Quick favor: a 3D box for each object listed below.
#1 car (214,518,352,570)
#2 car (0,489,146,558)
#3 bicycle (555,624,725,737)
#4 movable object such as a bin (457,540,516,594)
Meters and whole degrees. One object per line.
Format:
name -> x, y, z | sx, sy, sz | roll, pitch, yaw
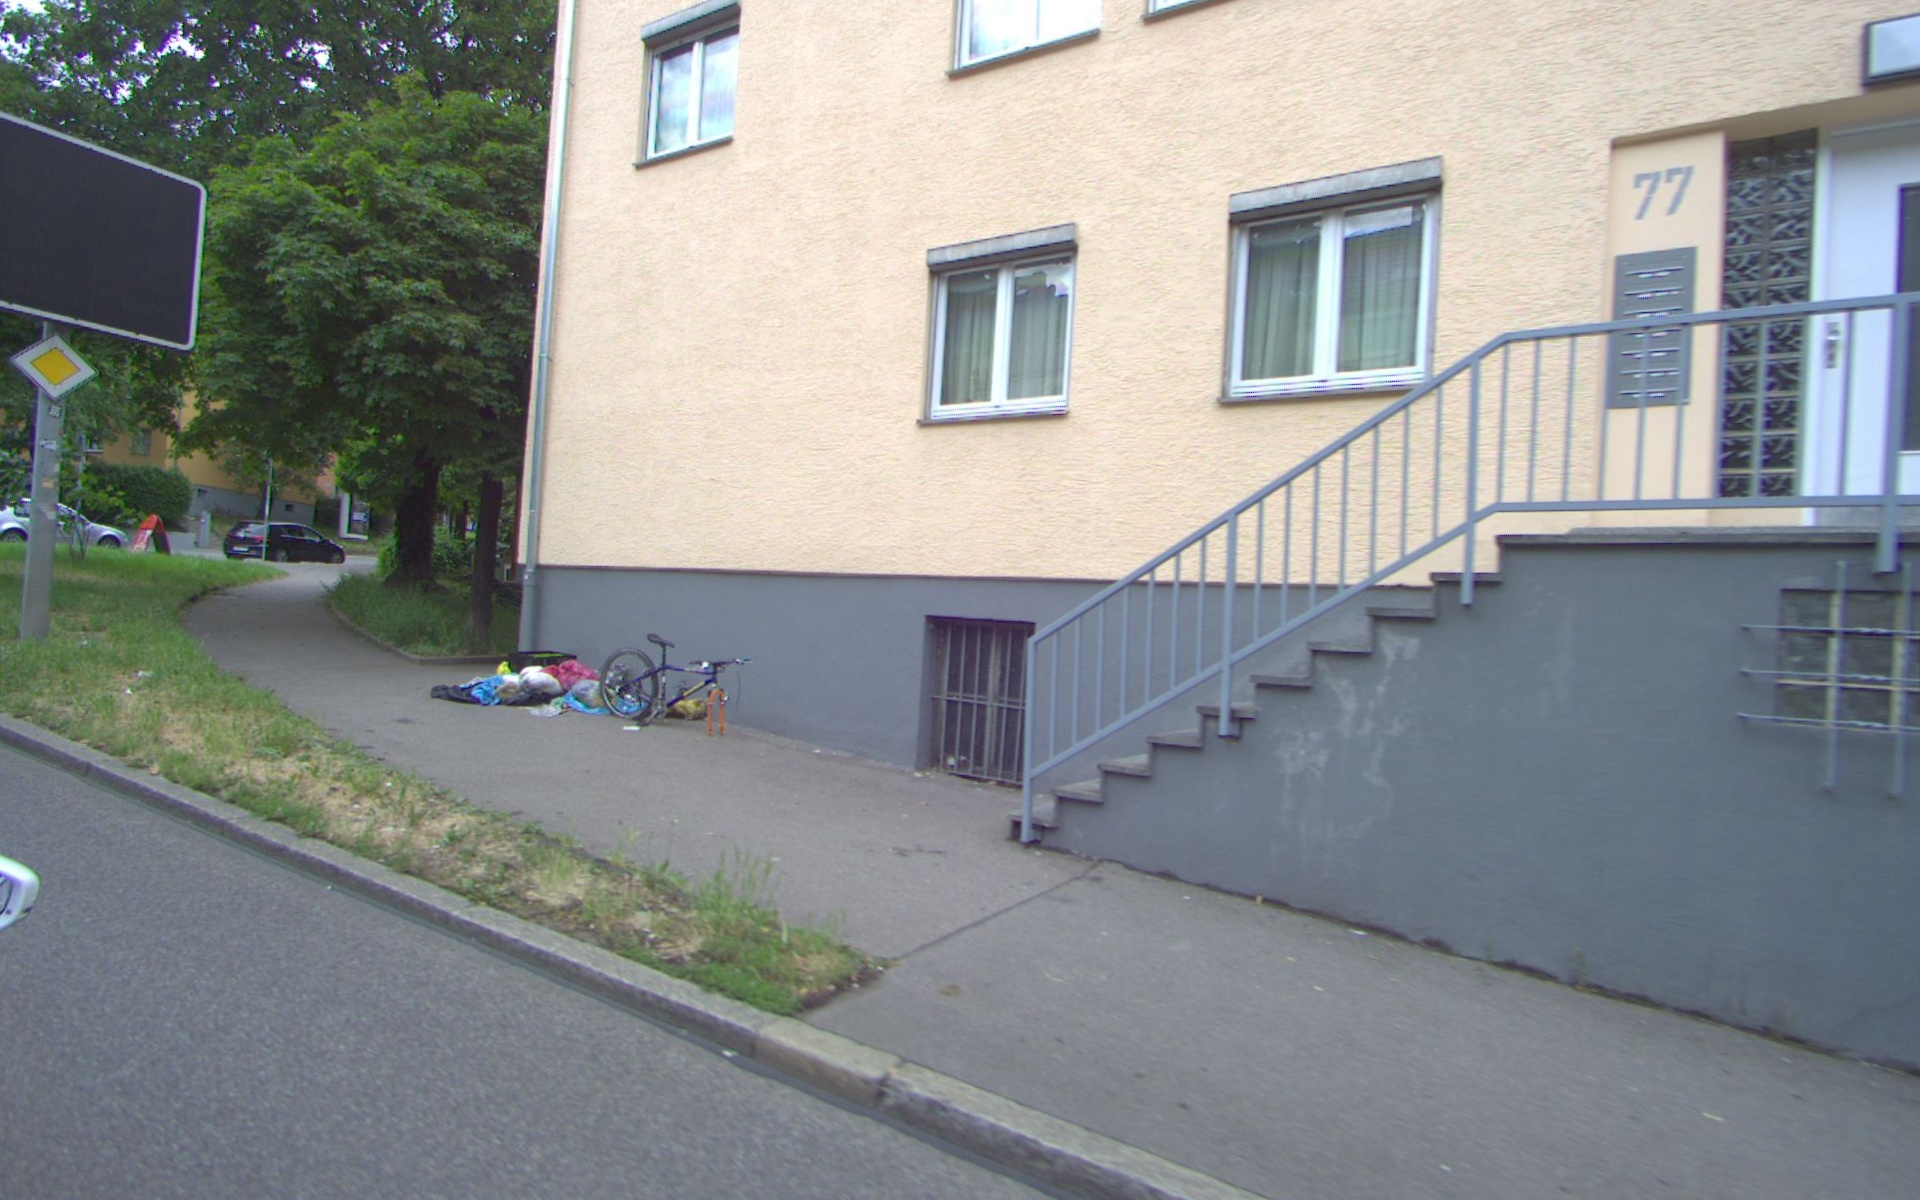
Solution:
car -> -22.953, -1.849, 34.297 | 1.704, 1.447, 4.129 | 4, 0, 3
car -> -23.706, -2.005, 25.893 | 1.827, 1.446, 4.130 | 7, 1, 6
bicycle -> -2.830, 0.685, 8.851 | 1.532, 0.782, 0.489 | 6, 1, 32
movable object such as a bin -> -14.069, -0.964, 29.923 | 1.220, 1.469, 1.081 | 4, 1, -6
